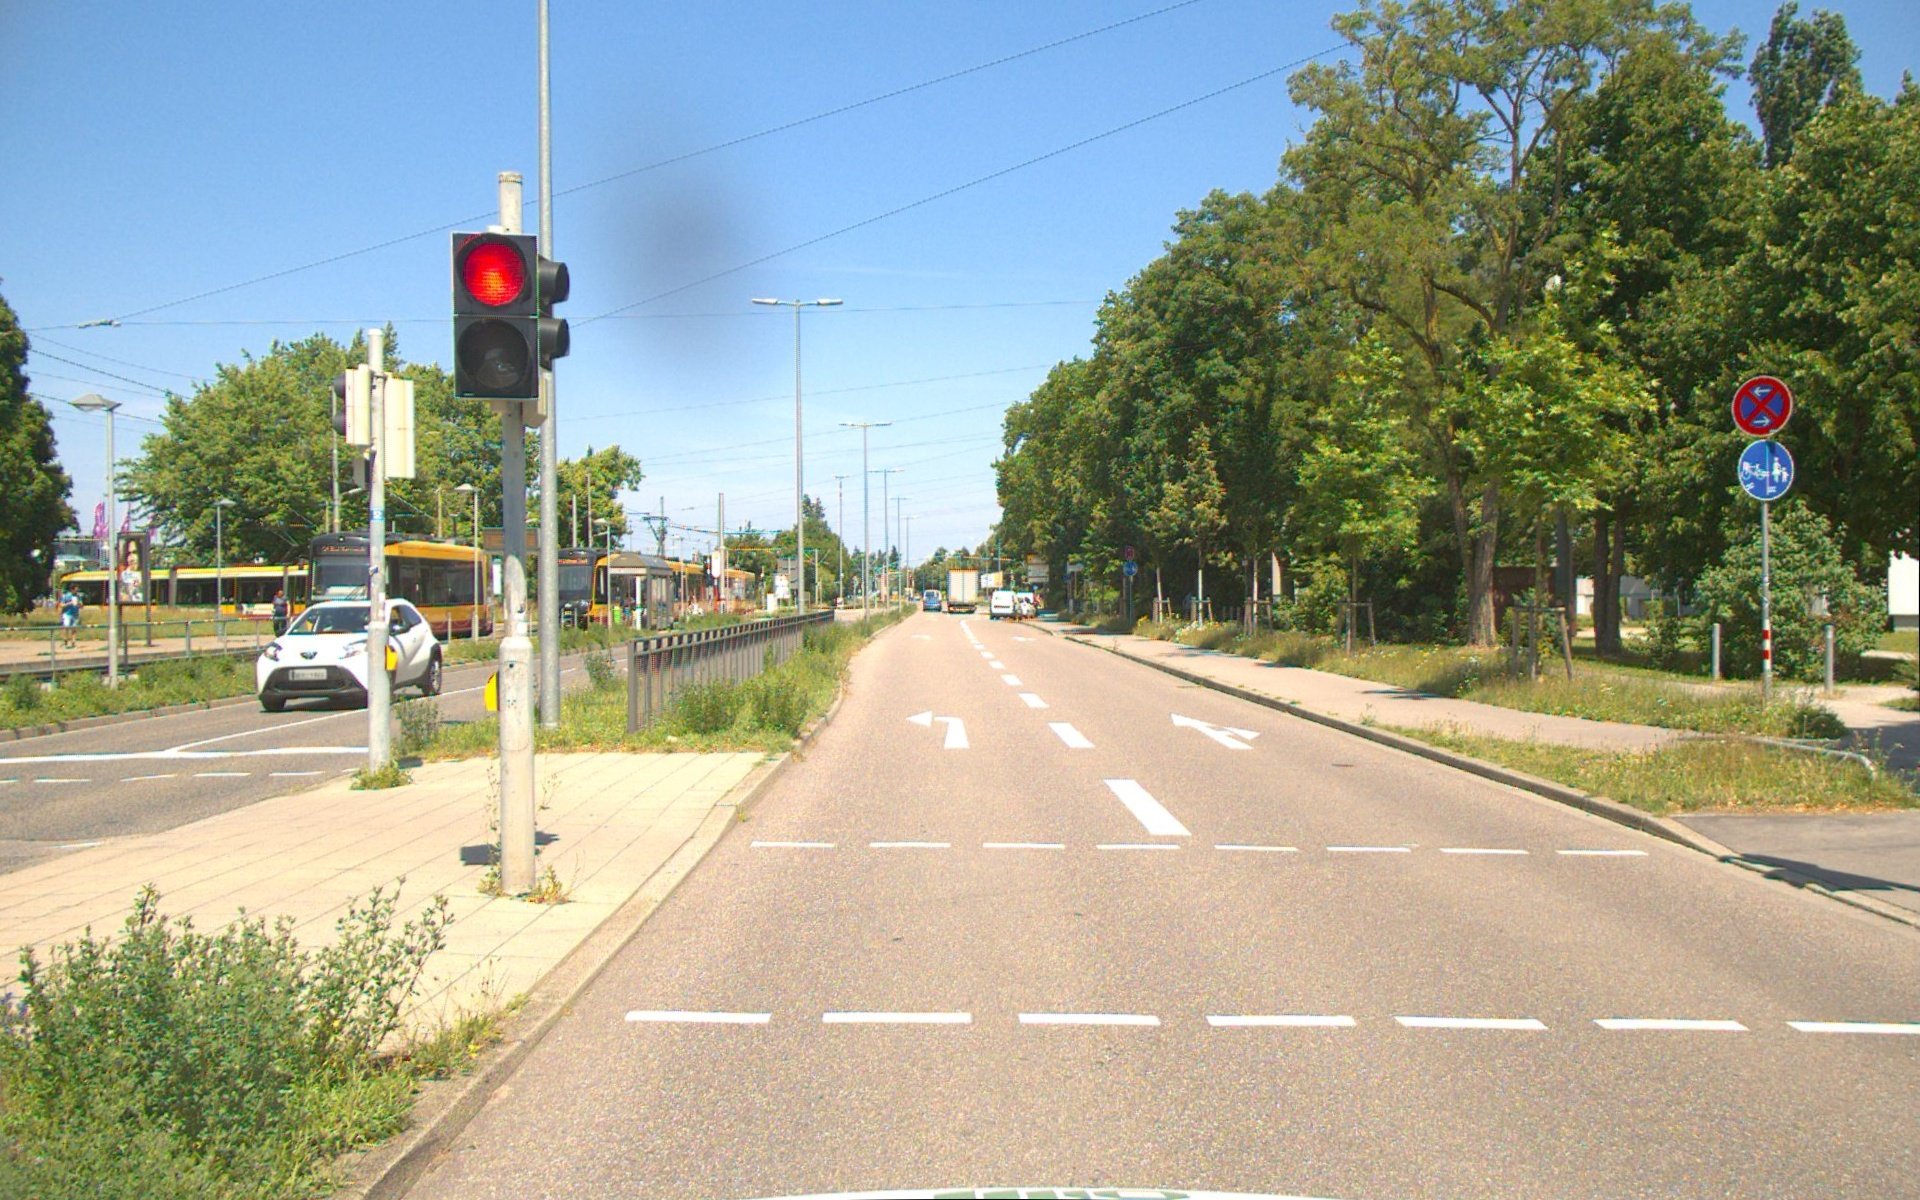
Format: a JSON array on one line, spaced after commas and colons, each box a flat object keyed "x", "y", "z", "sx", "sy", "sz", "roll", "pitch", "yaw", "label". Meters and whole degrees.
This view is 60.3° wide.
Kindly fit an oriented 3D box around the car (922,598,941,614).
[{"x": -2.684, "y": 0.523, "z": 157.834, "sx": 1.774, "sy": 1.490, "sz": 3.999, "roll": 0, "pitch": 0, "yaw": -1, "label": "car"}]

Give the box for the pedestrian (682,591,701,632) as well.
[{"x": -13.745, "y": 0.591, "z": 84.728, "sx": 0.798, "sy": 2.049, "sz": 0.938, "roll": 0, "pitch": 0, "yaw": -1, "label": "pedestrian"}]

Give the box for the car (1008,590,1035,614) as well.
[{"x": 4.405, "y": 0.119, "z": 118.852, "sx": 1.743, "sy": 1.698, "sz": 3.999, "roll": 0, "pitch": 0, "yaw": -1, "label": "car"}]

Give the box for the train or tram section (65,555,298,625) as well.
[{"x": -47.621, "y": -0.584, "z": 100.674, "sx": 18.097, "sy": 4.000, "sz": 3.219, "roll": 0, "pitch": 0, "yaw": 31, "label": "train or tram section"}]

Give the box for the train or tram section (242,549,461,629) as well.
[{"x": -33.487, "y": -0.547, "z": 90.137, "sx": 18.170, "sy": 4.000, "sz": 3.207, "roll": 0, "pitch": 0, "yaw": 42, "label": "train or tram section"}]

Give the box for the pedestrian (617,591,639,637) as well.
[{"x": -13.853, "y": 0.593, "z": 69.080, "sx": 0.769, "sy": 1.901, "sz": 0.817, "roll": 0, "pitch": 0, "yaw": -1, "label": "pedestrian"}]

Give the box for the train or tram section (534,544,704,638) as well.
[{"x": -16.344, "y": -0.426, "z": 82.976, "sx": 2.898, "sy": 3.815, "sz": 30.025, "roll": 0, "pitch": 0, "yaw": -1, "label": "train or tram section"}]

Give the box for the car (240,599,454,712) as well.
[{"x": -8.961, "y": 0.763, "z": 24.527, "sx": 1.807, "sy": 1.521, "sz": 3.790, "roll": 0, "pitch": 0, "yaw": -1, "label": "car"}]

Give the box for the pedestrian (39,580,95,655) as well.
[{"x": -24.451, "y": 0.469, "z": 45.299, "sx": 0.961, "sy": 2.049, "sz": 1.021, "roll": 0, "pitch": 0, "yaw": -1, "label": "pedestrian"}]

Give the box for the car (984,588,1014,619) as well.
[{"x": 2.452, "y": 0.222, "z": 105.547, "sx": 1.743, "sy": 1.937, "sz": 3.999, "roll": 0, "pitch": 0, "yaw": -1, "label": "car"}]

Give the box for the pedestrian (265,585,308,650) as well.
[{"x": -21.416, "y": 0.555, "z": 52.619, "sx": 0.961, "sy": 2.049, "sz": 1.021, "roll": 0, "pitch": 0, "yaw": -1, "label": "pedestrian"}]

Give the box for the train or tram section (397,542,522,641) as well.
[{"x": -23.305, "y": -0.378, "z": 76.081, "sx": 3.174, "sy": 4.000, "sz": 18.357, "roll": 0, "pitch": 0, "yaw": -24, "label": "train or tram section"}]

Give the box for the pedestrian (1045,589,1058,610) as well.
[{"x": 9.058, "y": -0.034, "z": 163.391, "sx": 1.161, "sy": 2.049, "sz": 1.213, "roll": 0, "pitch": 0, "yaw": -1, "label": "pedestrian"}]

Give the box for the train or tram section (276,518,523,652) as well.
[{"x": -19.282, "y": -0.486, "z": 58.941, "sx": 3.151, "sy": 4.000, "sz": 18.492, "roll": 0, "pitch": 0, "yaw": -2, "label": "train or tram section"}]

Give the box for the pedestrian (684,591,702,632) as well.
[{"x": -13.469, "y": 0.590, "z": 83.438, "sx": 0.798, "sy": 2.049, "sz": 0.938, "roll": 0, "pitch": 0, "yaw": -1, "label": "pedestrian"}]

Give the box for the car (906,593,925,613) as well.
[{"x": -4.696, "y": 0.333, "z": 175.088, "sx": 1.953, "sy": 2.049, "sz": 3.999, "roll": 0, "pitch": 0, "yaw": -1, "label": "car"}]

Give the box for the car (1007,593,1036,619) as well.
[{"x": 4.181, "y": 0.399, "z": 112.501, "sx": 1.743, "sy": 1.698, "sz": 3.999, "roll": 0, "pitch": 0, "yaw": -1, "label": "car"}]

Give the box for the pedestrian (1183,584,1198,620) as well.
[{"x": 9.527, "y": 0.088, "z": 68.305, "sx": 0.591, "sy": 1.463, "sz": 0.556, "roll": 0, "pitch": 0, "yaw": 6, "label": "pedestrian"}]

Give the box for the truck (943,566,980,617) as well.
[{"x": 0.071, "y": -0.730, "z": 146.064, "sx": 3.140, "sy": 4.435, "sz": 6.559, "roll": 0, "pitch": 0, "yaw": -1, "label": "truck"}]

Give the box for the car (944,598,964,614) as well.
[{"x": -0.590, "y": 0.563, "z": 153.598, "sx": 1.774, "sy": 1.490, "sz": 3.999, "roll": 0, "pitch": 0, "yaw": -1, "label": "car"}]

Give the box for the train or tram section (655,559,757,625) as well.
[{"x": -17.085, "y": -0.541, "z": 114.521, "sx": 2.872, "sy": 3.856, "sz": 33.076, "roll": 0, "pitch": 0, "yaw": -2, "label": "train or tram section"}]
